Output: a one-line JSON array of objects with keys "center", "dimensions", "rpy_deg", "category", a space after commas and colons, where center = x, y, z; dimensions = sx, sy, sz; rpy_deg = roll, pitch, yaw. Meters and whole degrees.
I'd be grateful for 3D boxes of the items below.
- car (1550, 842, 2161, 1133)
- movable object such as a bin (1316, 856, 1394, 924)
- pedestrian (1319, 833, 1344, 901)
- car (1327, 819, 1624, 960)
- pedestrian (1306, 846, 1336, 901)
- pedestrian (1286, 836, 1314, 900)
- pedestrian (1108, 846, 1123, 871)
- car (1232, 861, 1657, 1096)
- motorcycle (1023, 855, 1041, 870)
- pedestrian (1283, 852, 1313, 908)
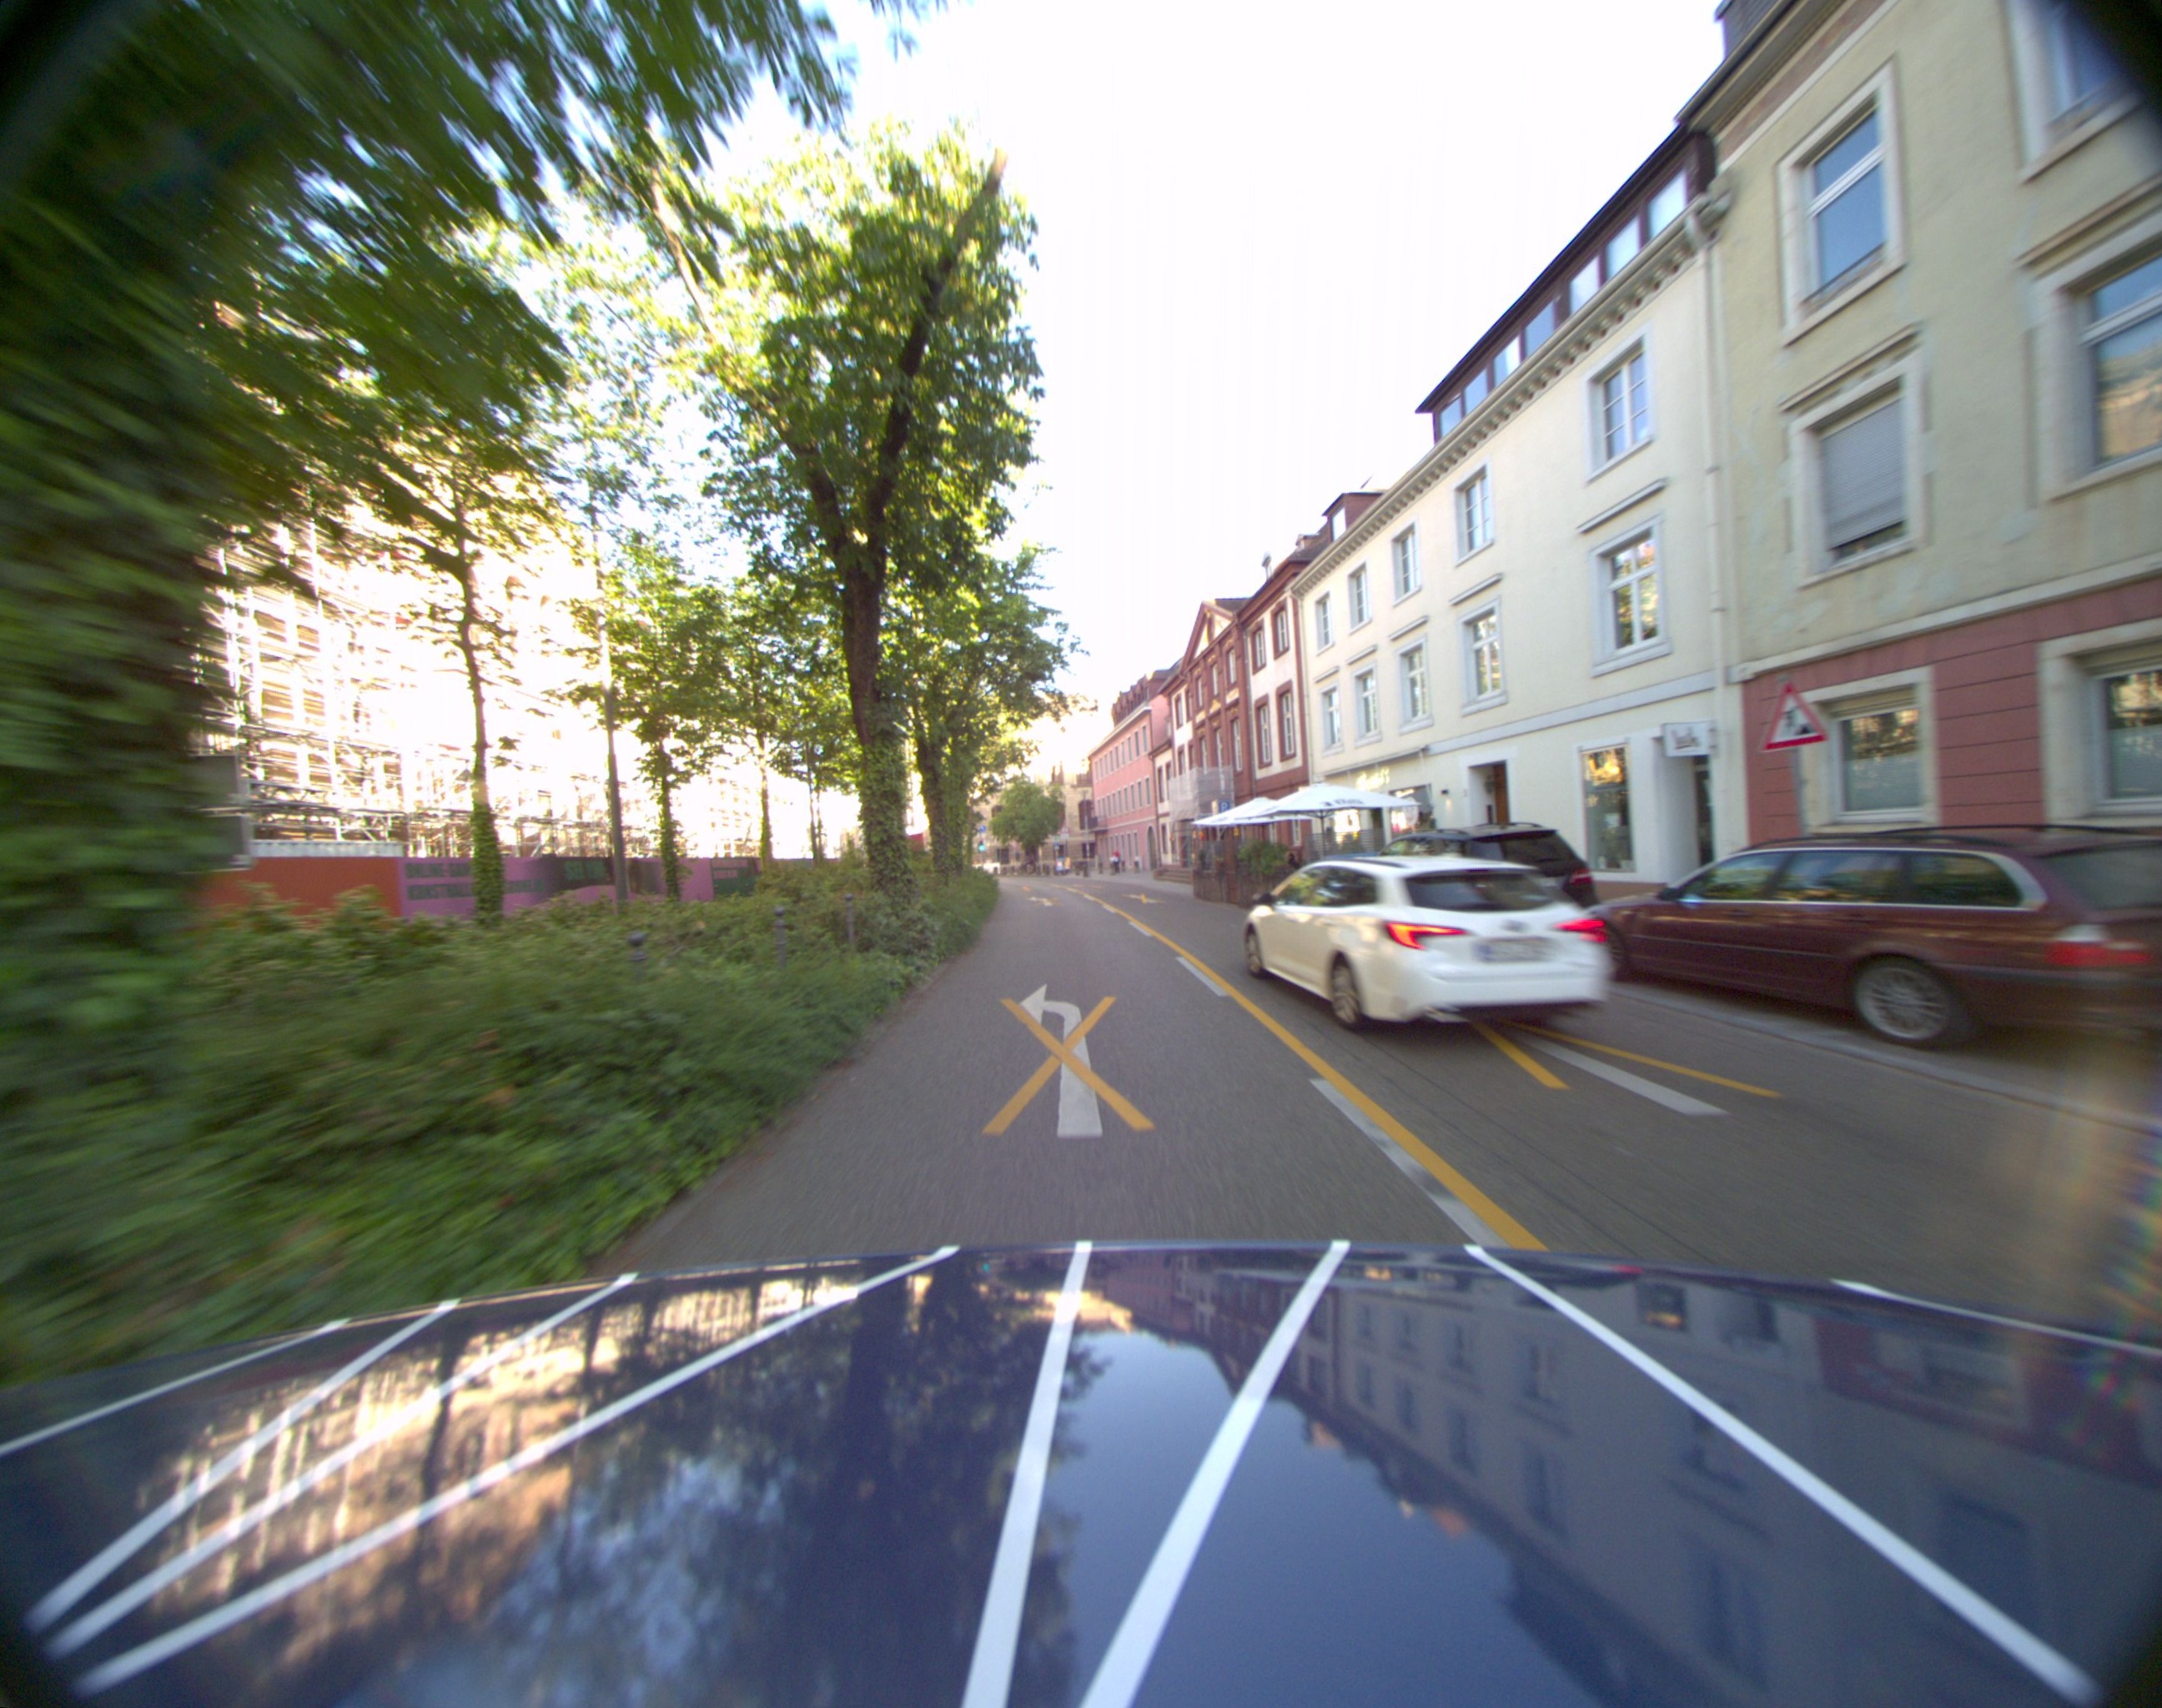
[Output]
[{"center": [6.180, 0.692, 6.269], "dimensions": [1.658, 1.472, 4.426], "rpy_deg": [-3, 1, -3], "category": "car"}, {"center": [5.613, 0.714, 15.624], "dimensions": [1.219, 1.288, 0.930], "rpy_deg": [-3, 1, 0], "category": "movable object such as a bin"}, {"center": [6.752, 0.341, 20.489], "dimensions": [0.438, 1.765, 0.598], "rpy_deg": [-3, 1, 8], "category": "pedestrian"}, {"center": [5.742, 0.432, 11.928], "dimensions": [1.927, 1.670, 4.783], "rpy_deg": [-3, 1, -3], "category": "car"}, {"center": [6.216, 0.491, 19.682], "dimensions": [0.525, 1.383, 0.488], "rpy_deg": [-4, 1, -8], "category": "pedestrian"}, {"center": [6.201, 0.384, 21.526], "dimensions": [0.597, 1.765, 0.439], "rpy_deg": [-4, 1, 3], "category": "pedestrian"}, {"center": [2.409, 0.322, 53.322], "dimensions": [0.793, 1.679, 0.868], "rpy_deg": [-5, 1, -8], "category": "pedestrian"}, {"center": [2.882, 0.847, 7.284], "dimensions": [1.740, 1.413, 4.427], "rpy_deg": [-2, 1, -3], "category": "car"}, {"center": [-4.400, 0.772, 67.661], "dimensions": [0.815, 1.309, 2.333], "rpy_deg": [-4, 0, -22], "category": "motorcycle"}, {"center": [5.593, 0.662, 19.626], "dimensions": [0.525, 1.383, 0.488], "rpy_deg": [-4, 1, -8], "category": "pedestrian"}]
